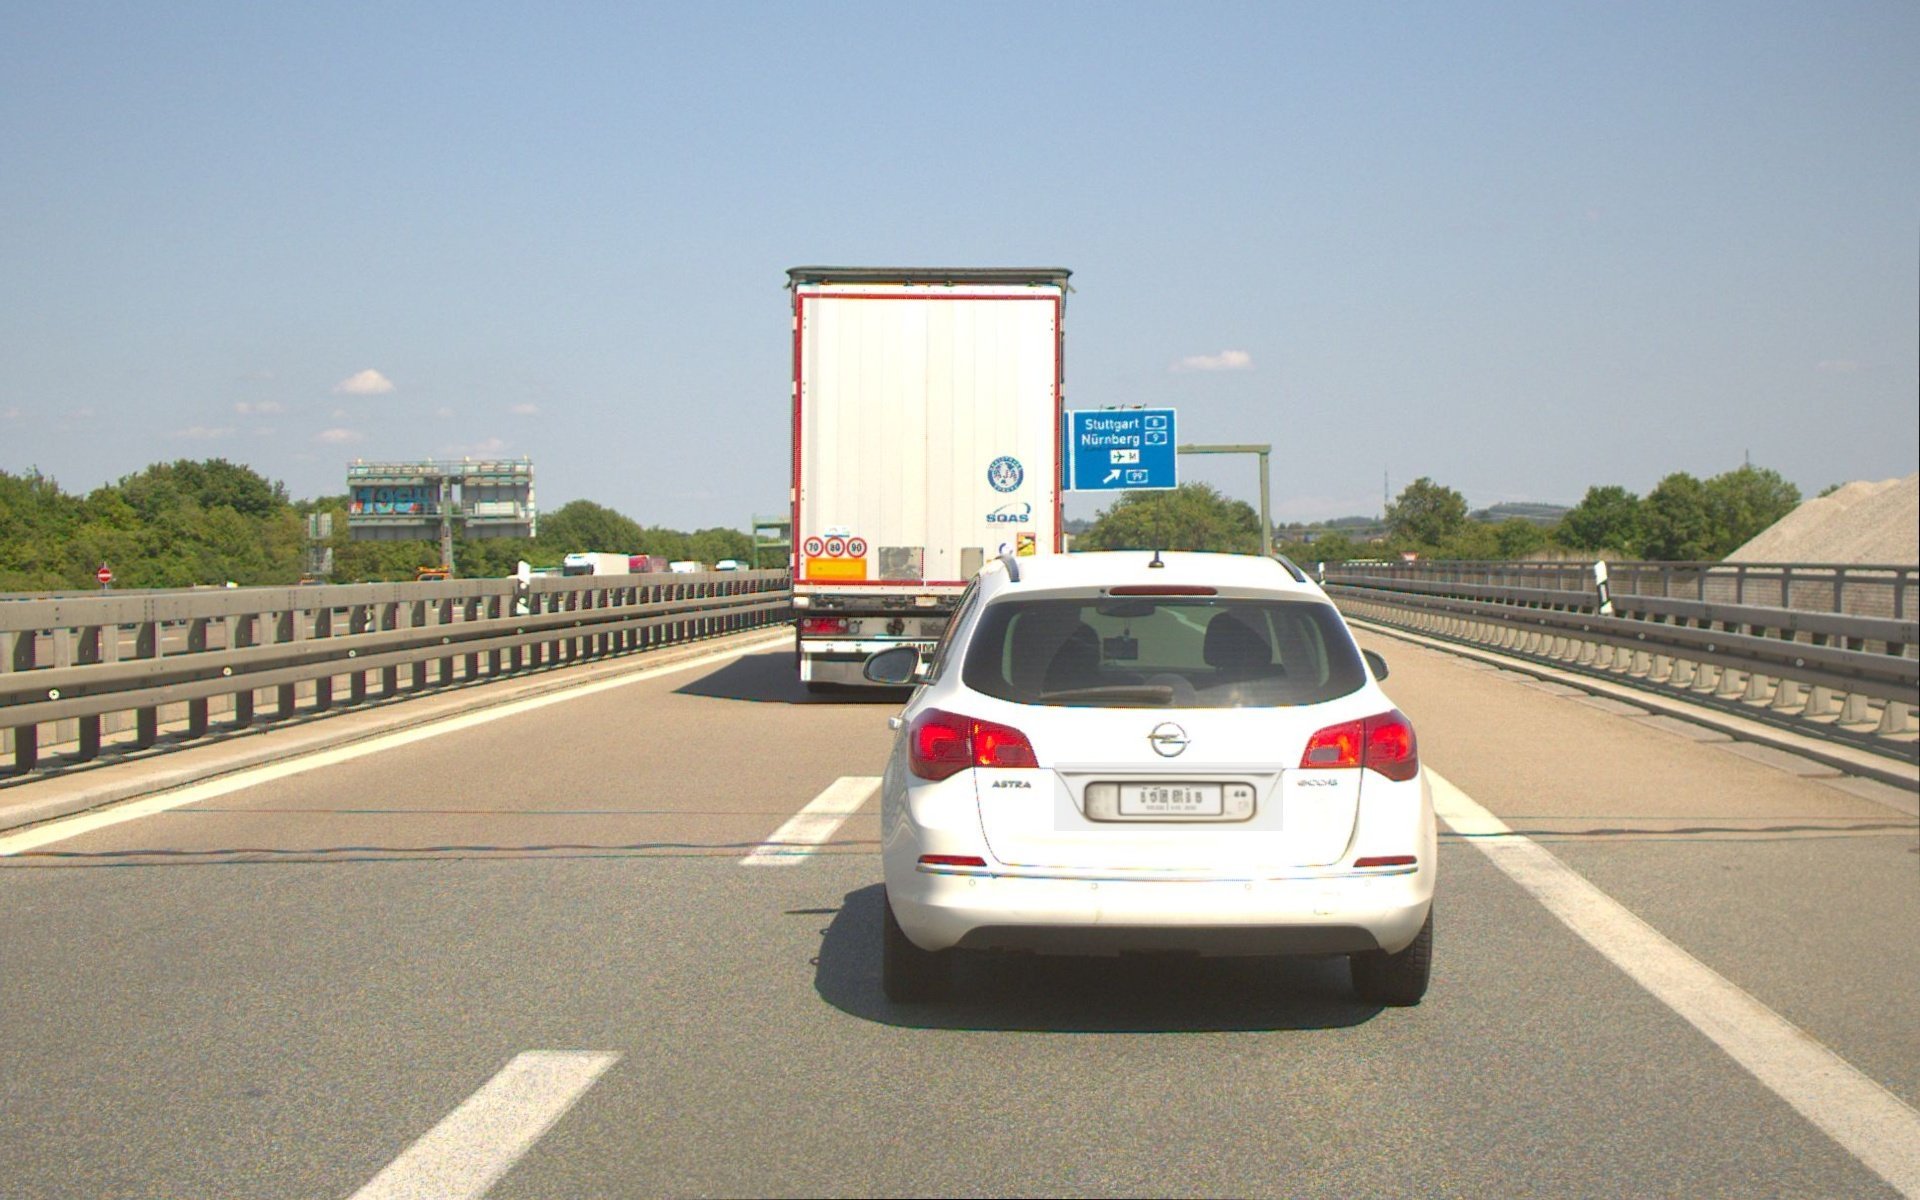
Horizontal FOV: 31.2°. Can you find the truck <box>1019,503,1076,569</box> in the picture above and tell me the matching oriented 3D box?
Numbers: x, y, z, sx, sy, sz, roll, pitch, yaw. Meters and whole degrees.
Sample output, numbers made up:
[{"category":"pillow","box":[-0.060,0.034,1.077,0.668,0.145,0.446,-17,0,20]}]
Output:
[{"category":"truck","box":[6.005,-4.330,234.060,3.539,4.131,11.257,2,0,2]}]

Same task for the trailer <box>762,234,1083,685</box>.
[{"category":"trailer","box":[-0.371,-1.282,37.364,2.912,4.131,11.257,1,0,0]}]

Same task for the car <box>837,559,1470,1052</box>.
[{"category":"car","box":[0.654,0.580,12.307,1.854,1.438,4.371,0,1,2]}]
